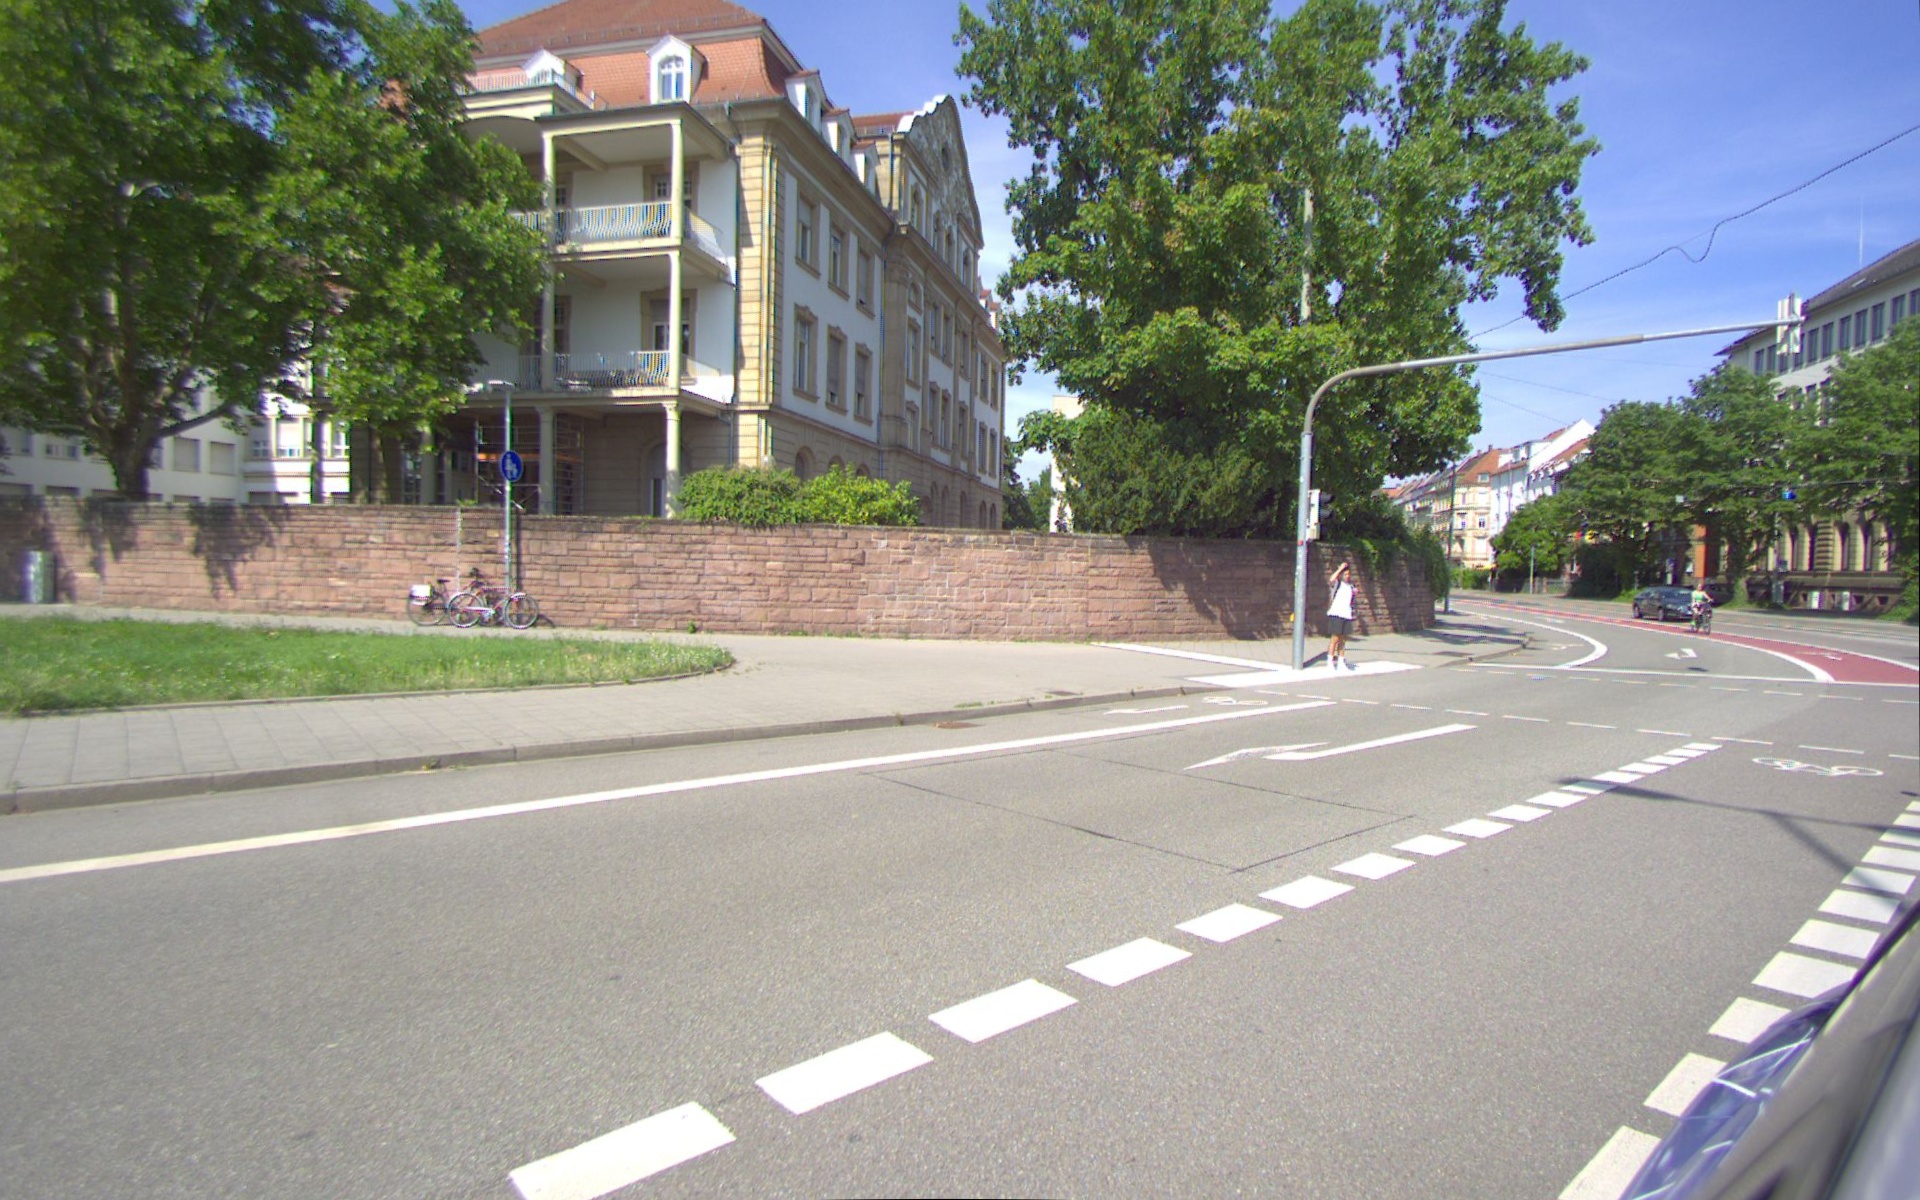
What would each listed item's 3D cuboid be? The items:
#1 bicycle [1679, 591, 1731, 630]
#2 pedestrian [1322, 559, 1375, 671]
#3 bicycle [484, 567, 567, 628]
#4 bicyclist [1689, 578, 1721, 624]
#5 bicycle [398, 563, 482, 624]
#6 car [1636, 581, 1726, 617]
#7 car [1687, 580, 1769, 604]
[{"bbox_3d":[25.647,0.335,34.878,0.676,1.237,2.176,2,2,16],"label":"bicycle"},{"bbox_3d":[6.904,0.243,17.985,0.649,1.897,0.788,4,3,31],"label":"pedestrian"},{"bbox_3d":[-8.353,-0.049,19.481,1.406,1.136,0.350,2,2,-6],"label":"bicycle"},{"bbox_3d":[25.671,0.024,34.880,0.580,1.567,0.927,0,1,17],"label":"bicyclist"},{"bbox_3d":[-9.943,-0.123,19.374,1.406,1.136,0.350,1,2,-27],"label":"bicycle"},{"bbox_3d":[30.713,-0.084,43.253,1.778,1.393,4.255,1,1,16],"label":"car"},{"bbox_3d":[52.710,-0.569,69.530,3.941,1.482,1.992,2,2,14],"label":"car"}]
